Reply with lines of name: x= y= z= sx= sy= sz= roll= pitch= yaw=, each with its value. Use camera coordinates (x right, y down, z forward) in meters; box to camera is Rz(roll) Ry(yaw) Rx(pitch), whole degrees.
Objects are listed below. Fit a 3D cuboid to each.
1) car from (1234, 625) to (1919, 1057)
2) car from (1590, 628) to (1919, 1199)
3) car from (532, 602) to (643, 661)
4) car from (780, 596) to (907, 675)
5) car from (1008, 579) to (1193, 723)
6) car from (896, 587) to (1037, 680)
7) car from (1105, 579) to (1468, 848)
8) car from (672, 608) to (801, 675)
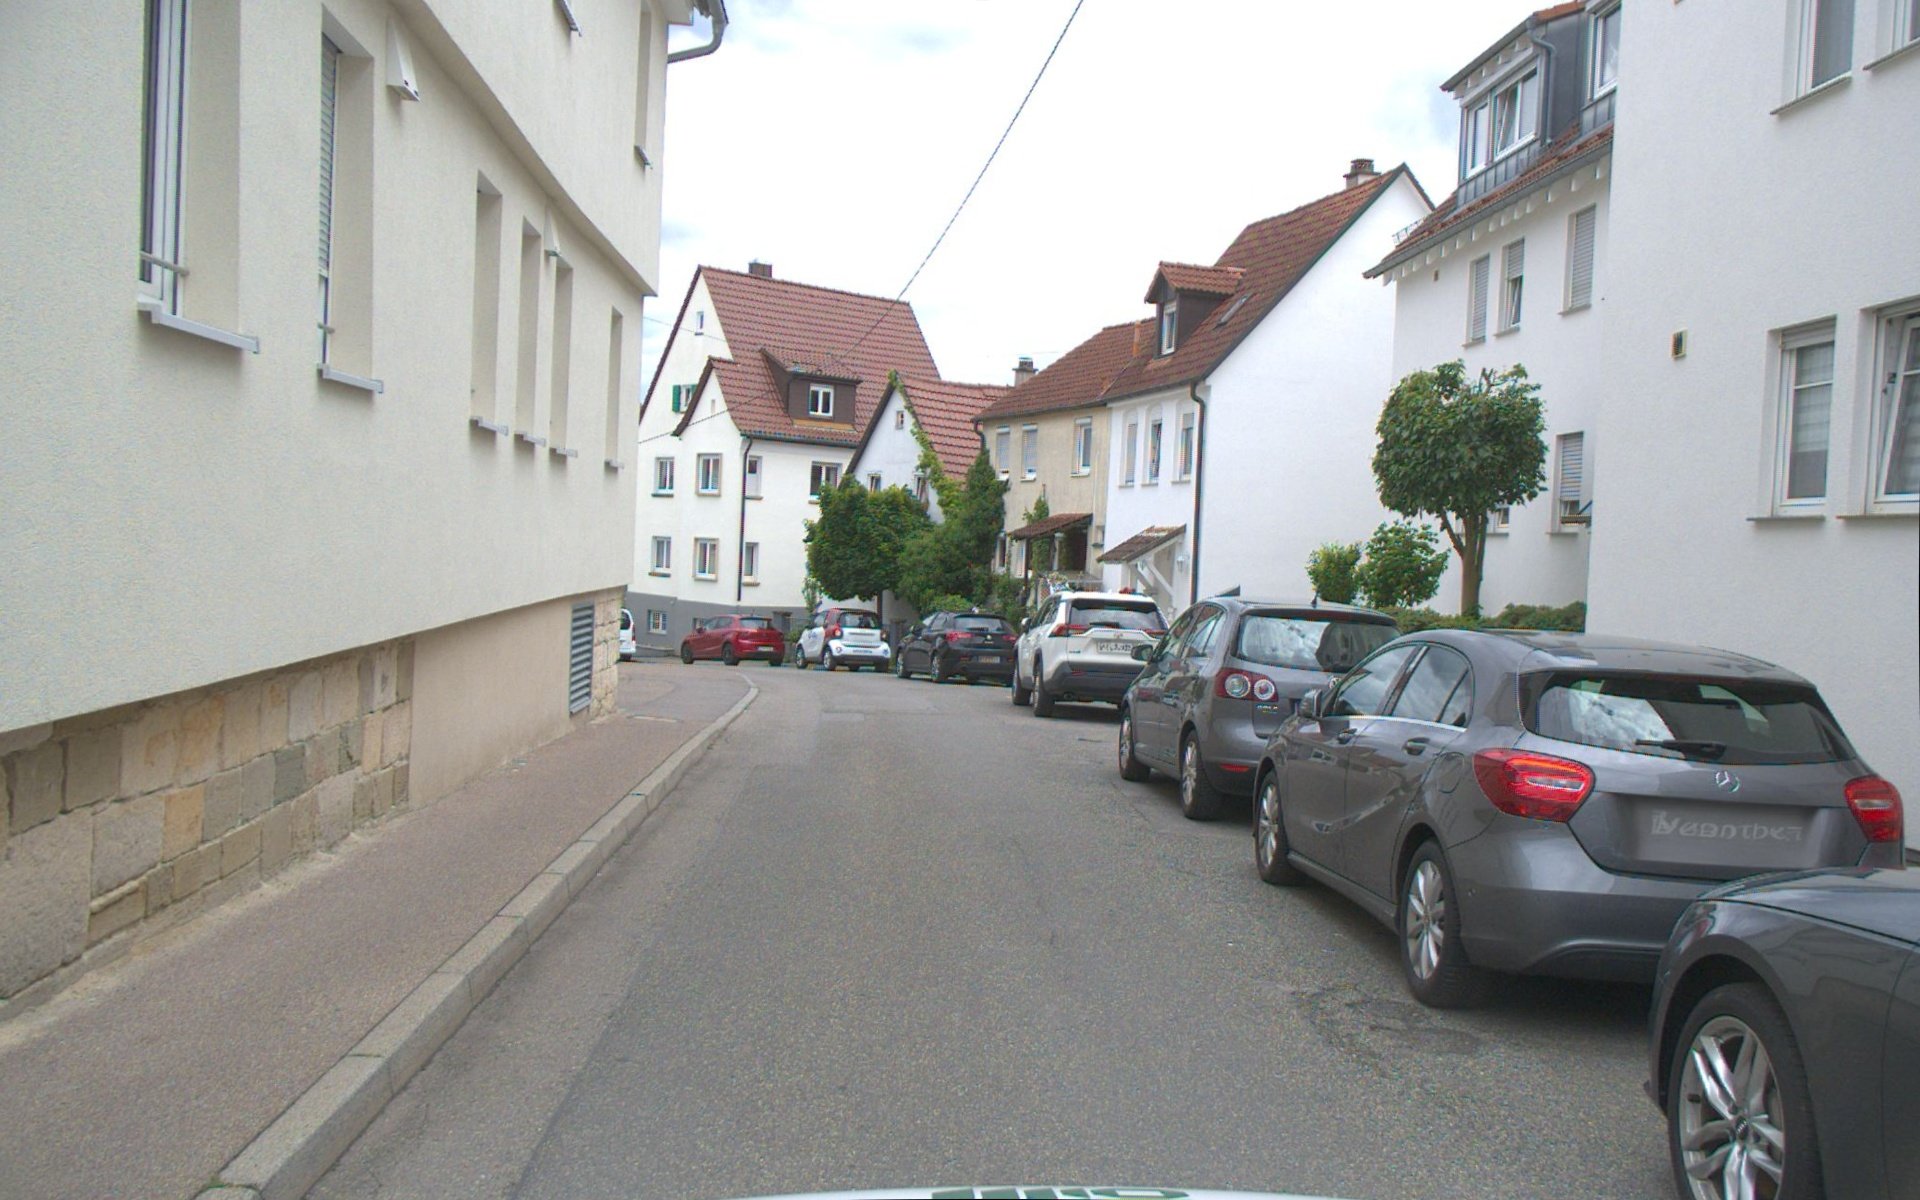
car: x=2.575 y=0.859 z=7.666 sx=1.761 sy=1.375 sz=4.073 roll=2 pitch=0 yaw=-2
car: x=2.804 y=0.827 z=2.331 sx=1.880 sy=1.434 sz=4.654 roll=1 pitch=0 yaw=-3
car: x=-12.545 y=1.030 z=55.550 sx=2.047 sy=1.673 sz=3.943 roll=0 pitch=3 yaw=-40
car: x=-3.041 y=0.875 z=42.412 sx=1.937 sy=1.743 sz=3.969 roll=2 pitch=1 yaw=-25
car: x=1.826 y=0.645 z=22.814 sx=1.836 sy=1.743 sz=4.143 roll=2 pitch=0 yaw=-5
car: x=0.062 y=0.688 z=33.590 sx=1.959 sy=1.743 sz=3.985 roll=1 pitch=-2 yaw=-14
car: x=2.331 y=0.751 z=12.878 sx=1.702 sy=1.638 sz=3.997 roll=5 pitch=0 yaw=-4
car: x=-6.478 y=1.214 z=47.722 sx=1.979 sy=1.713 sz=3.948 roll=-4 pitch=1 yaw=-36
